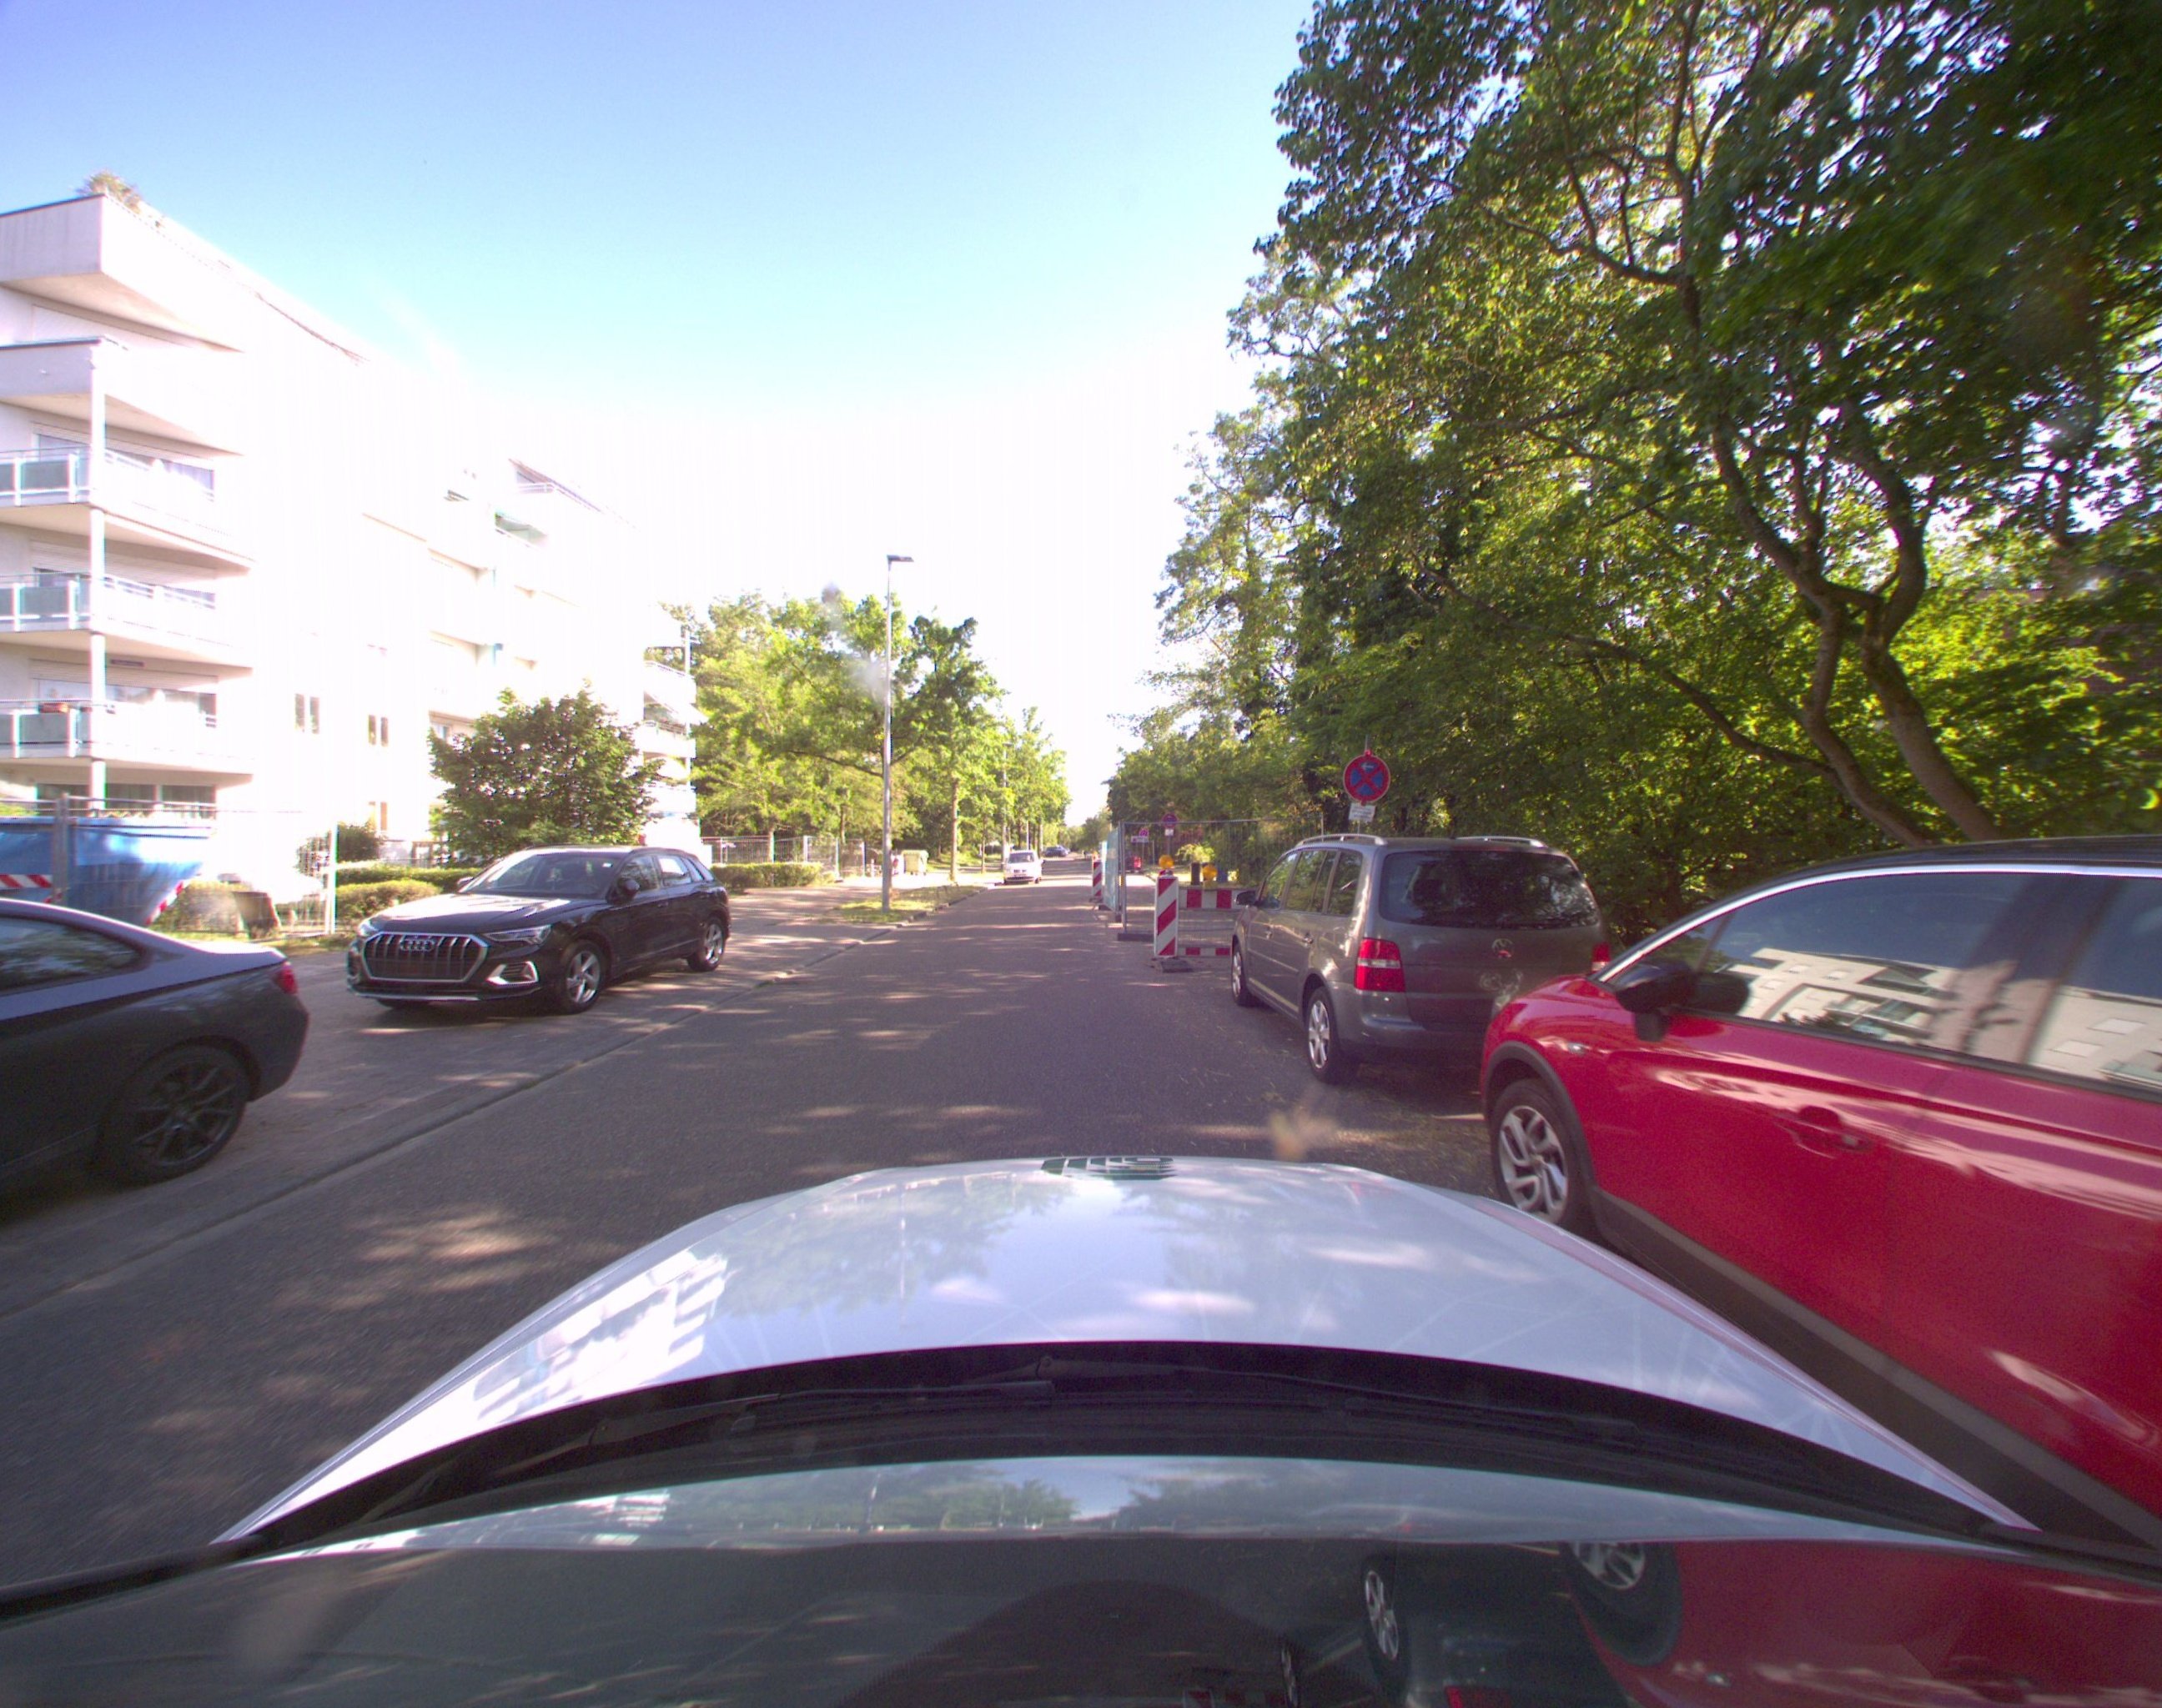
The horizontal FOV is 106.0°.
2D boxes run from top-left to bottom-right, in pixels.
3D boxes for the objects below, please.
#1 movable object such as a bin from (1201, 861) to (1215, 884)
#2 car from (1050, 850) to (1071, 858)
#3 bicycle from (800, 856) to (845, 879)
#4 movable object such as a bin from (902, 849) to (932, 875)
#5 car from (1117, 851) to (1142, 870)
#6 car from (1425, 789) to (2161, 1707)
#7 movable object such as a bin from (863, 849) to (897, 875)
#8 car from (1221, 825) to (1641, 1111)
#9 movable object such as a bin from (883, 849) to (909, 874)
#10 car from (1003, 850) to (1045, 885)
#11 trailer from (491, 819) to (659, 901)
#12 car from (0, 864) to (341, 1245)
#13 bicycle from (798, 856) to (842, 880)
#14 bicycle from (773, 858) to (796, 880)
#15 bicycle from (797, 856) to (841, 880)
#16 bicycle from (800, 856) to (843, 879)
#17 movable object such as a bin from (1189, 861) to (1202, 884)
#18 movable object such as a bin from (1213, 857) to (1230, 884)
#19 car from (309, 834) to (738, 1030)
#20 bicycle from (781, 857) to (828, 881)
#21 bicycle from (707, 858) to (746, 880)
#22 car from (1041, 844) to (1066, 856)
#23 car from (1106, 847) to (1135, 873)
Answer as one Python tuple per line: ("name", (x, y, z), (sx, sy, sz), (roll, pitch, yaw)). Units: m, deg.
("movable object such as a bin", (4.883, 0.698, 31.297), (0.411, 0.870, 0.484), (-2, 0, 1))
("car", (-4.149, -0.089, 167.872), (4.091, 1.576, 1.959), (1, 0, 2))
("bicycle", (-11.935, 0.627, 37.635), (1.916, 1.027, 0.399), (0, -1, -13))
("movable object such as a bin", (-9.411, 0.471, 46.809), (1.259, 1.435, 1.186), (-1, 0, 16))
("car", (3.679, 0.464, 61.913), (1.656, 1.375, 4.155), (1, 0, 0))
("car", (2.512, 0.690, 2.041), (1.672, 1.574, 4.068), (0, 0, 1))
("movable object such as a bin", (-11.259, 0.431, 45.595), (1.257, 1.435, 1.334), (-1, 0, 28))
("car", (2.360, 0.641, 6.721), (1.673, 1.621, 4.136), (0, 0, 0))
("movable object such as a bin", (-11.025, 0.428, 48.448), (1.149, 1.435, 1.260), (-1, 0, -33))
("car", (-2.748, 0.614, 39.815), (1.653, 1.596, 4.010), (0, 0, 2))
("trailer", (-14.384, 0.144, 23.509), (1.855, 2.120, 4.351), (1, 0, 4))
("car", (-5.077, 0.811, 2.622), (1.712, 1.432, 4.133), (1, 0, -3))
("bicycle", (-11.772, 0.623, 36.749), (1.860, 1.027, 0.399), (0, -1, -13))
("bicycle", (-14.034, 0.713, 38.602), (0.397, 1.027, 1.701), (-1, -1, 3))
("bicycle", (-11.667, 0.619, 36.278), (1.840, 1.027, 0.399), (0, -1, -13))
("bicycle", (-11.842, 0.623, 37.171), (1.839, 1.027, 0.399), (0, -1, -13))
("movable object such as a bin", (4.394, 0.718, 31.279), (0.411, 0.870, 0.484), (-2, 0, 1))
("movable object such as a bin", (5.397, 0.613, 31.253), (0.517, 0.999, 0.608), (-2, 0, 1))
("car", (-5.590, 0.646, 8.983), (1.769, 1.621, 4.220), (1, 0, 0))
("bicycle", (-11.841, 0.638, 34.862), (1.870, 1.027, 0.399), (0, -1, -13))
("bicycle", (-16.618, 0.711, 38.190), (1.686, 1.027, 0.401), (-1, -1, 5))
("car", (-6.012, -0.841, 176.814), (5.191, 2.621, 2.290), (1, 0, -5))
("car", (2.691, 0.355, 55.105), (1.802, 1.651, 4.426), (1, 0, 4))
